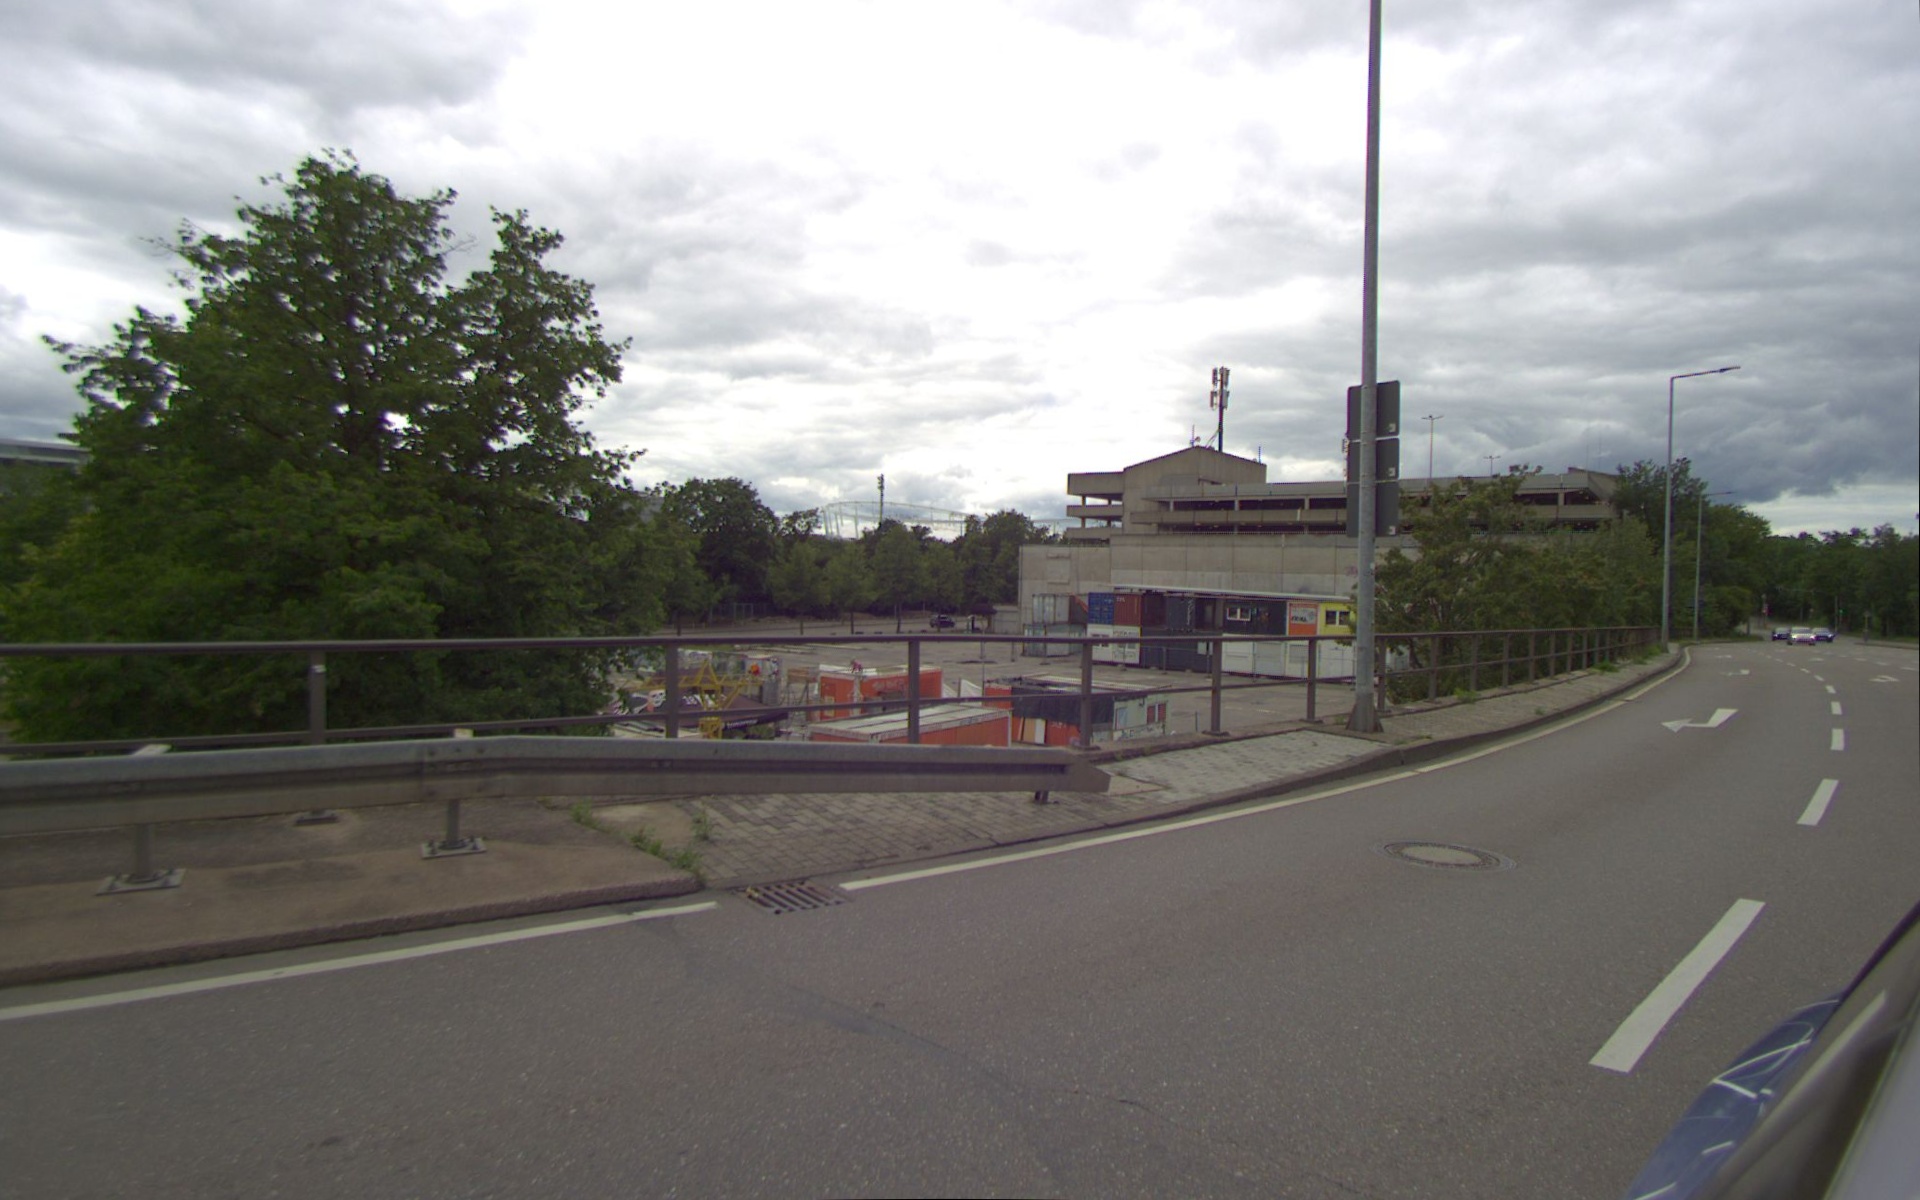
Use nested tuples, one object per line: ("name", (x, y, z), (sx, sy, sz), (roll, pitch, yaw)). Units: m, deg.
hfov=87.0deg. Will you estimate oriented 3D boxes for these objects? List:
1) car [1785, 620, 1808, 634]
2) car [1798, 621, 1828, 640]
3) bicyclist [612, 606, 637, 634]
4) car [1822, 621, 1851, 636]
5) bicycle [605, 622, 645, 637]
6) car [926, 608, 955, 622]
("car", (88.023, 2.819, 106.464), (1.857, 1.434, 4.275), (1, 0, 40))
("car", (68.773, 2.414, 81.614), (1.601, 1.434, 3.543), (1, 0, 36))
("bicyclist", (-33.285, 1.952, 100.439), (1.483, 2.737, 1.861), (1, 0, 18))
("car", (88.505, 2.842, 102.209), (1.832, 1.434, 4.520), (1, 0, 36))
("bicycle", (-33.268, 2.931, 100.568), (1.483, 1.304, 4.305), (1, 1, 18))
("car", (-2.632, 2.044, 137.020), (1.988, 1.839, 3.947), (-4, -2, 36))
